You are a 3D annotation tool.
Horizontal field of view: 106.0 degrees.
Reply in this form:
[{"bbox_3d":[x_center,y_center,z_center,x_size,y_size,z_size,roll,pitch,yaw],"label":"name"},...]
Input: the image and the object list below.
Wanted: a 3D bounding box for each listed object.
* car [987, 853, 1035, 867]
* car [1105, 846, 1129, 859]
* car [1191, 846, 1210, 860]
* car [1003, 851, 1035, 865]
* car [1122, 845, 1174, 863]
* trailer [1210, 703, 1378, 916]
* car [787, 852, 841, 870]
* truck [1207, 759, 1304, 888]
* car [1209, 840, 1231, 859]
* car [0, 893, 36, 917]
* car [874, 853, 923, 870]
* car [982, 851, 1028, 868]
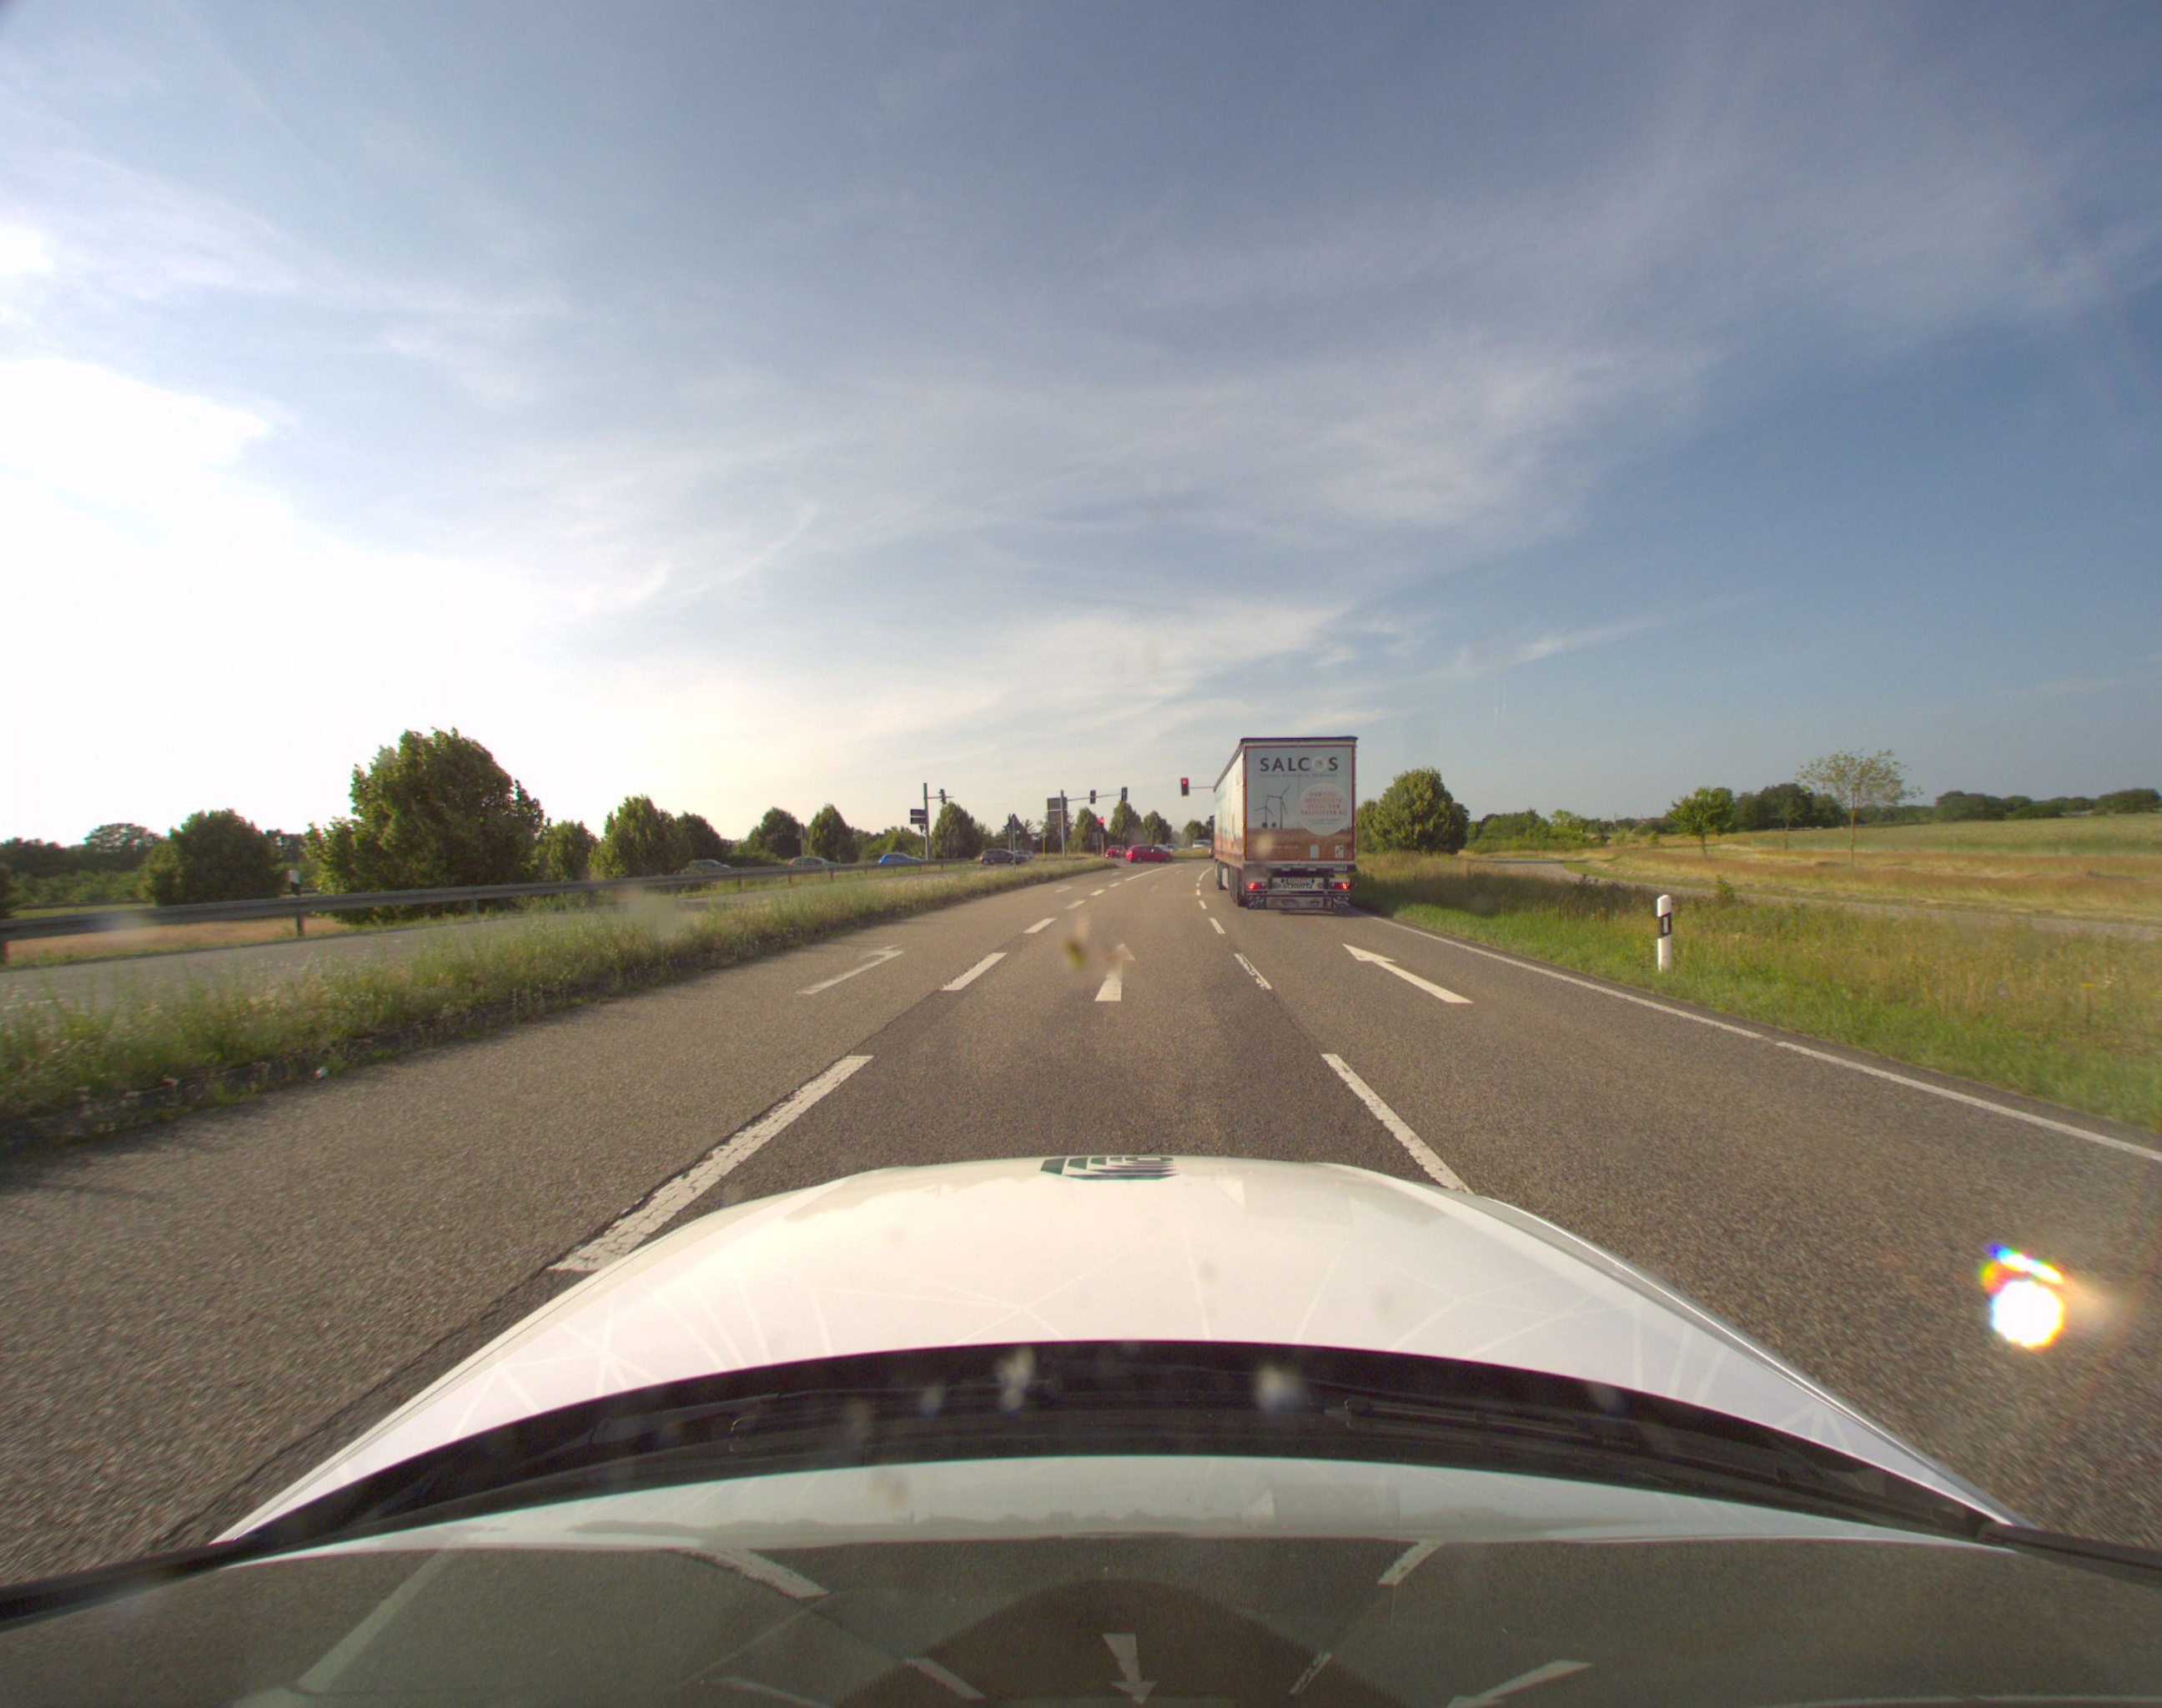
[{"bbox_3d":[-6.789,0.597,79.475,4.232,1.323,1.923,-1,-1,15],"label":"car"},{"bbox_3d":[4.167,-0.176,94.343,1.706,1.488,3.822,-1,0,18],"label":"car"},{"bbox_3d":[17.756,-0.158,120.598,1.909,2.078,4.265,-1,0,21],"label":"car"},{"bbox_3d":[-7.004,0.454,92.161,3.198,1.492,1.764,-1,0,-24],"label":"car"},{"bbox_3d":[6.009,0.003,72.921,4.271,1.565,1.892,0,-1,-15],"label":"car"},{"bbox_3d":[5.724,-1.021,24.548,3.263,4.681,13.175,0,0,7],"label":"trailer"},{"bbox_3d":[-25.053,0.661,76.513,4.484,1.565,1.822,-1,0,13],"label":"car"},{"bbox_3d":[6.753,-1.105,32.385,3.282,4.657,5.744,0,0,7],"label":"truck"},{"bbox_3d":[15.215,-0.460,89.117,1.895,1.916,4.295,-1,-1,15],"label":"car"},{"bbox_3d":[-96.498,4.544,72.310,4.002,2.014,1.985,0,-1,-22],"label":"car"},{"bbox_3d":[-16.744,0.674,74.899,3.943,1.492,1.786,-1,0,14],"label":"car"},{"bbox_3d":[-6.734,0.495,72.337,3.761,1.416,1.925,0,-1,9],"label":"car"}]
